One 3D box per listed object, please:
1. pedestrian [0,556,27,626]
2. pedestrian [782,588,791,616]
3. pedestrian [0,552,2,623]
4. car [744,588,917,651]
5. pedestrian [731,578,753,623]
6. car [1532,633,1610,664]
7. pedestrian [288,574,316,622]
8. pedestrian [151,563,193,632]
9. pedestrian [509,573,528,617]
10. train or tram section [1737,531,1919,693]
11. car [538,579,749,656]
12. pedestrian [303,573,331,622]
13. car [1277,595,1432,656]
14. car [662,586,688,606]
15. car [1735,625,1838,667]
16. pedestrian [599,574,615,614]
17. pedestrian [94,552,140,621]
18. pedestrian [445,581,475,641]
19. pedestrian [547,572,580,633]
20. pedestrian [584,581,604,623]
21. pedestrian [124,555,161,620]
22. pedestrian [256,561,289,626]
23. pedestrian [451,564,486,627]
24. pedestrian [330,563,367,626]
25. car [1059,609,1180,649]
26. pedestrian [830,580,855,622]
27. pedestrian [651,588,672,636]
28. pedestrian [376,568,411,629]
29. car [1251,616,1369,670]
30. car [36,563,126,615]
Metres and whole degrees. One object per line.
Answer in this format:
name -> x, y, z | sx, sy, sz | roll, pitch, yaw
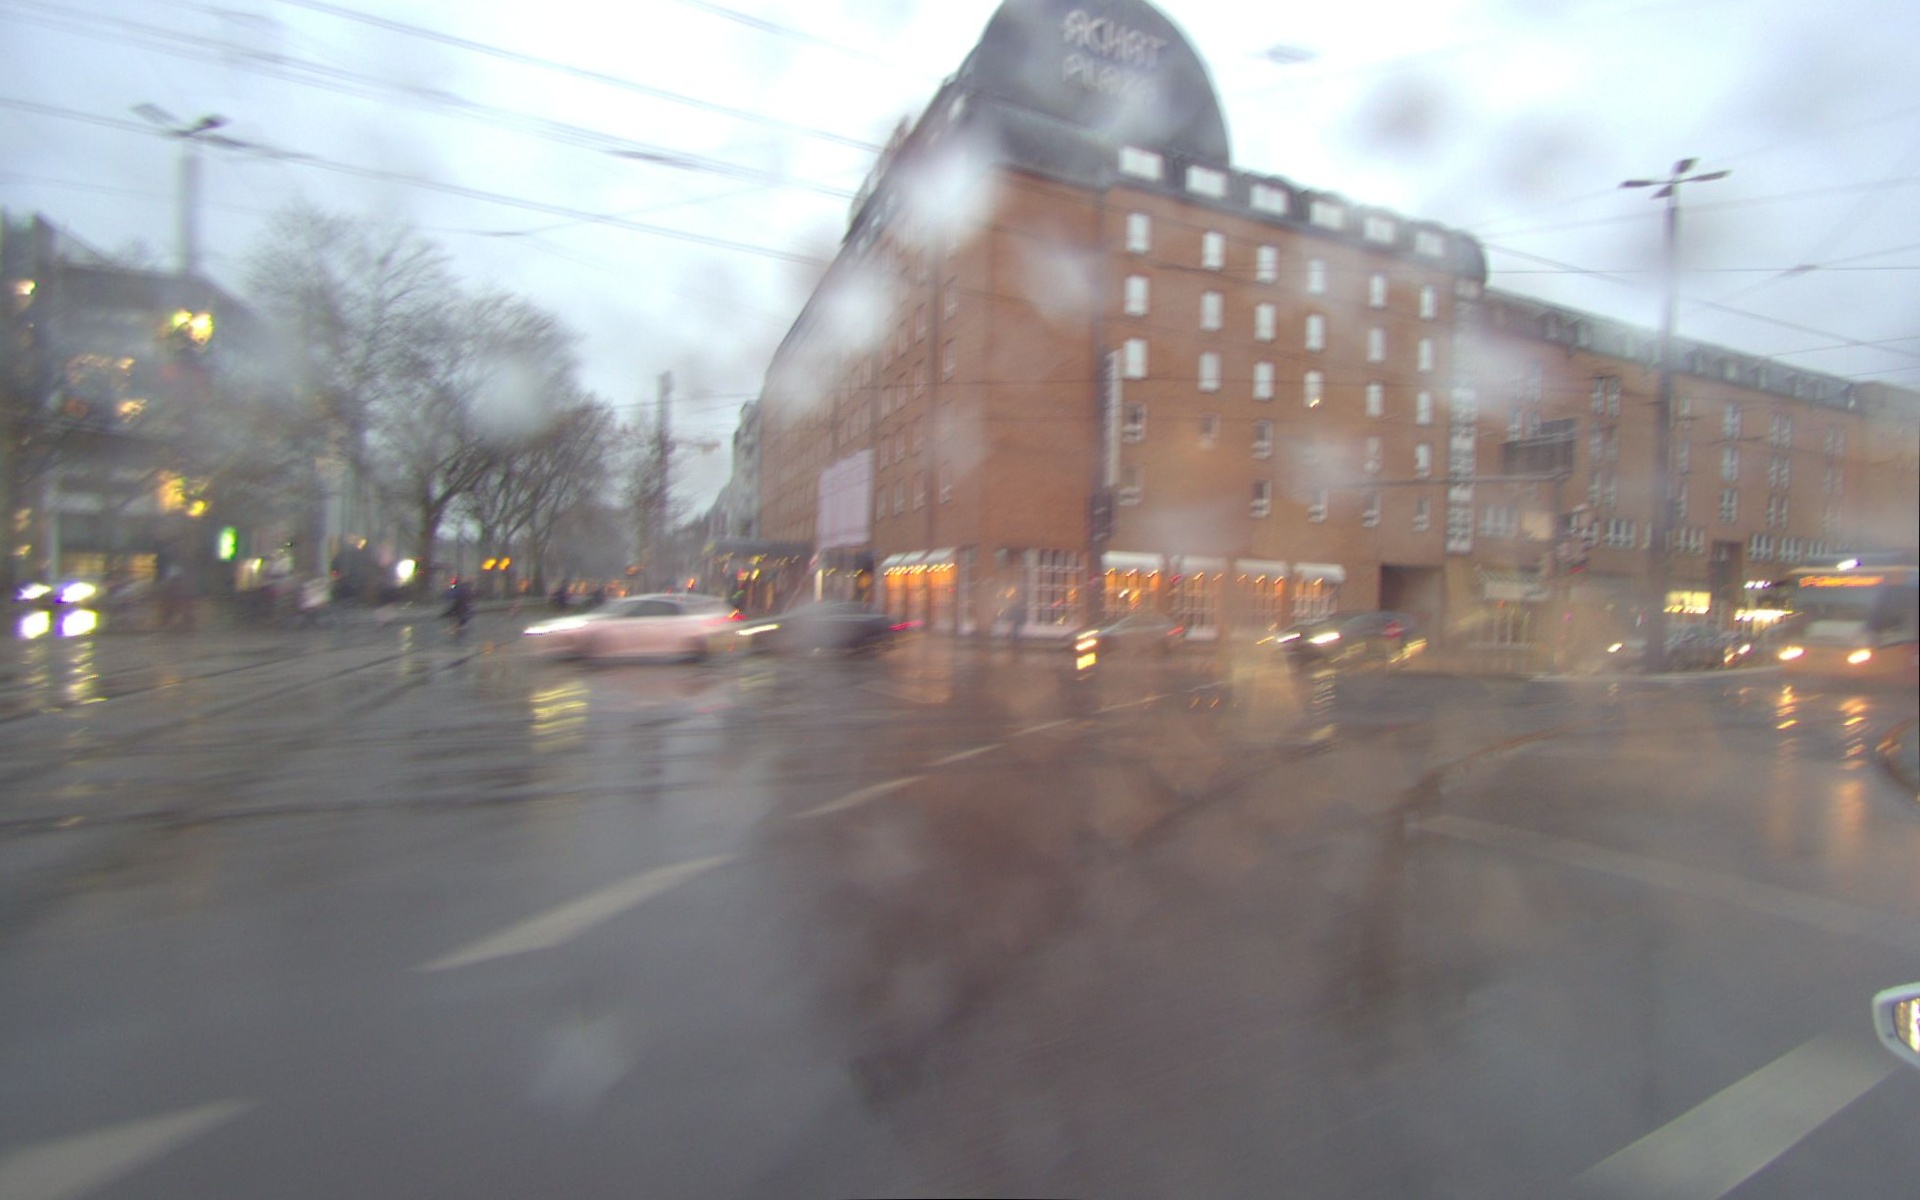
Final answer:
pedestrian -> -28.434, -0.275, 29.917 | 0.764, 2.040, 0.706 | 2, 0, 31
pedestrian -> -12.789, 0.134, 74.067 | 0.521, 2.040, 0.553 | 2, 0, -20
pedestrian -> -27.553, -0.363, 28.294 | 0.753, 2.040, 0.699 | 2, 0, -41
car -> -3.402, 0.531, 26.603 | 4.182, 1.525, 1.745 | 2, 0, -28
pedestrian -> -9.513, 0.035, 43.780 | 0.774, 1.925, 0.836 | 2, 0, -19
car -> 31.961, 2.535, 52.553 | 4.177, 1.511, 1.605 | 2, 0, -29
pedestrian -> -21.708, -0.070, 33.135 | 0.564, 1.558, 0.519 | 1, 1, -8
pedestrian -> -23.985, -0.082, 30.589 | 0.746, 2.040, 0.705 | 2, 0, -15
pedestrian -> -21.307, -0.243, 48.486 | 0.709, 2.040, 0.743 | 2, 0, -20
train or tram section -> 25.590, 0.377, 26.588 | 12.097, 3.637, 2.939 | 2, 2, -27
car -> -6.829, 0.396, 21.742 | 4.146, 1.515, 1.662 | 2, 0, -26
pedestrian -> -20.870, -0.078, 32.606 | 0.564, 1.558, 0.519 | 1, 1, -8
car -> 12.160, 0.794, 30.905 | 4.646, 1.732, 1.821 | 2, 1, -28
car -> -26.204, -0.378, 92.203 | 2.075, 1.806, 3.689 | 2, 0, -19
car -> 30.410, 1.709, 36.954 | 3.502, 1.372, 1.675 | 2, 1, -28
pedestrian -> -18.417, -0.324, 52.360 | 0.709, 2.040, 0.743 | 2, 0, -20
pedestrian -> -25.606, -0.414, 30.521 | 0.744, 2.040, 0.707 | 2, 0, -1
pedestrian -> -17.220, 0.371, 34.580 | 0.747, 2.040, 0.705 | 2, 0, -17
pedestrian -> -13.734, 0.090, 34.811 | 0.744, 2.040, 0.800 | 2, 0, -1
pedestrian -> -13.621, 0.074, 37.417 | 0.564, 1.558, 0.519 | 1, 1, -8
pedestrian -> -25.545, -0.384, 31.384 | 0.655, 1.984, 0.529 | 2, 0, -4
pedestrian -> -22.165, -0.200, 32.391 | 0.697, 2.040, 0.755 | 2, 0, -23
pedestrian -> -16.271, -0.137, 33.248 | 0.744, 2.040, 0.707 | 2, 0, -1
pedestrian -> -20.410, -0.188, 33.544 | 0.744, 2.040, 0.707 | 2, 0, -1
car -> 5.900, 1.068, 37.073 | 4.166, 1.339, 1.609 | 2, 0, -21
pedestrian -> -5.783, 0.063, 49.353 | 0.922, 2.040, 0.756 | 2, 0, 40
pedestrian -> -9.858, 0.394, 33.219 | 0.564, 1.558, 0.519 | 1, 1, -8
pedestrian -> -19.544, -0.058, 34.659 | 0.744, 2.040, 0.707 | 2, 0, -1
car -> 12.115, 1.481, 34.726 | 3.807, 1.732, 1.677 | 2, 1, -28
car -> -39.303, -0.489, 45.017 | 1.895, 2.166, 4.051 | 2, 0, -25
